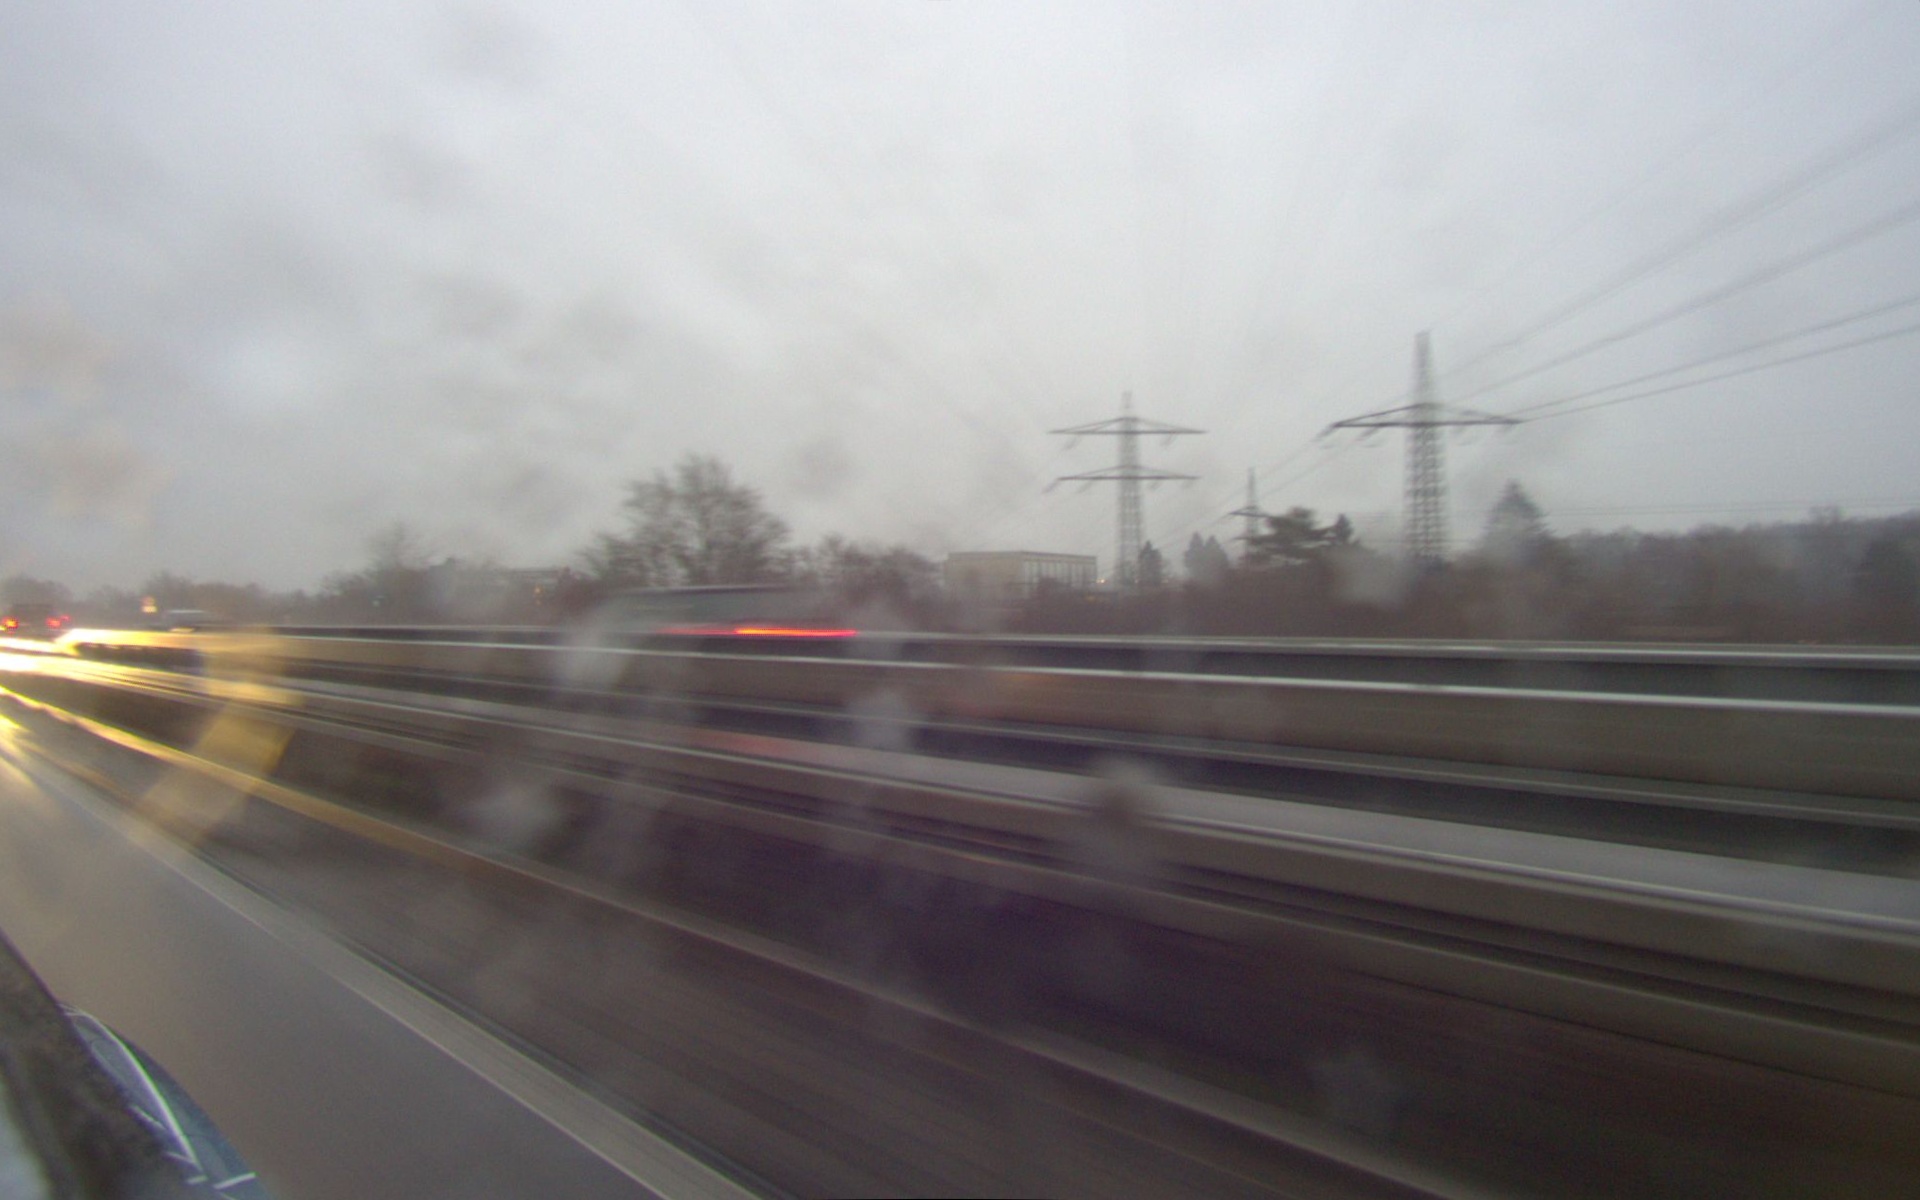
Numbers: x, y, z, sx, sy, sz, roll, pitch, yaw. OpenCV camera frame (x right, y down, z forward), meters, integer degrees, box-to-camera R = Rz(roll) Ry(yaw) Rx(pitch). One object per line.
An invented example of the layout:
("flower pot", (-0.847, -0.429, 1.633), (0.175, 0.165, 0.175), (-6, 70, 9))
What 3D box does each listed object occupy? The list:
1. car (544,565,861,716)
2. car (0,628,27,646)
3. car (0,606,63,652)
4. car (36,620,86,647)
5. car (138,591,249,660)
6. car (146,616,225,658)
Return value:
("car", (-3.617, 0.494, 13.809), (4.397, 1.724, 2.049), (-1, -1, 41))
("car", (-86.280, 3.360, 91.709), (4.388, 1.563, 1.964), (-3, -2, 40))
("car", (-45.613, 1.390, 49.467), (4.759, 2.130, 2.049), (-1, -1, 41))
("car", (-64.444, 2.384, 72.516), (4.844, 1.805, 2.049), (-1, -1, 41))
("car", (-25.692, 0.828, 33.864), (4.759, 2.130, 2.049), (-1, -1, 41))
("car", (-35.671, 1.662, 46.554), (4.337, 1.805, 2.049), (-1, -1, 41))
